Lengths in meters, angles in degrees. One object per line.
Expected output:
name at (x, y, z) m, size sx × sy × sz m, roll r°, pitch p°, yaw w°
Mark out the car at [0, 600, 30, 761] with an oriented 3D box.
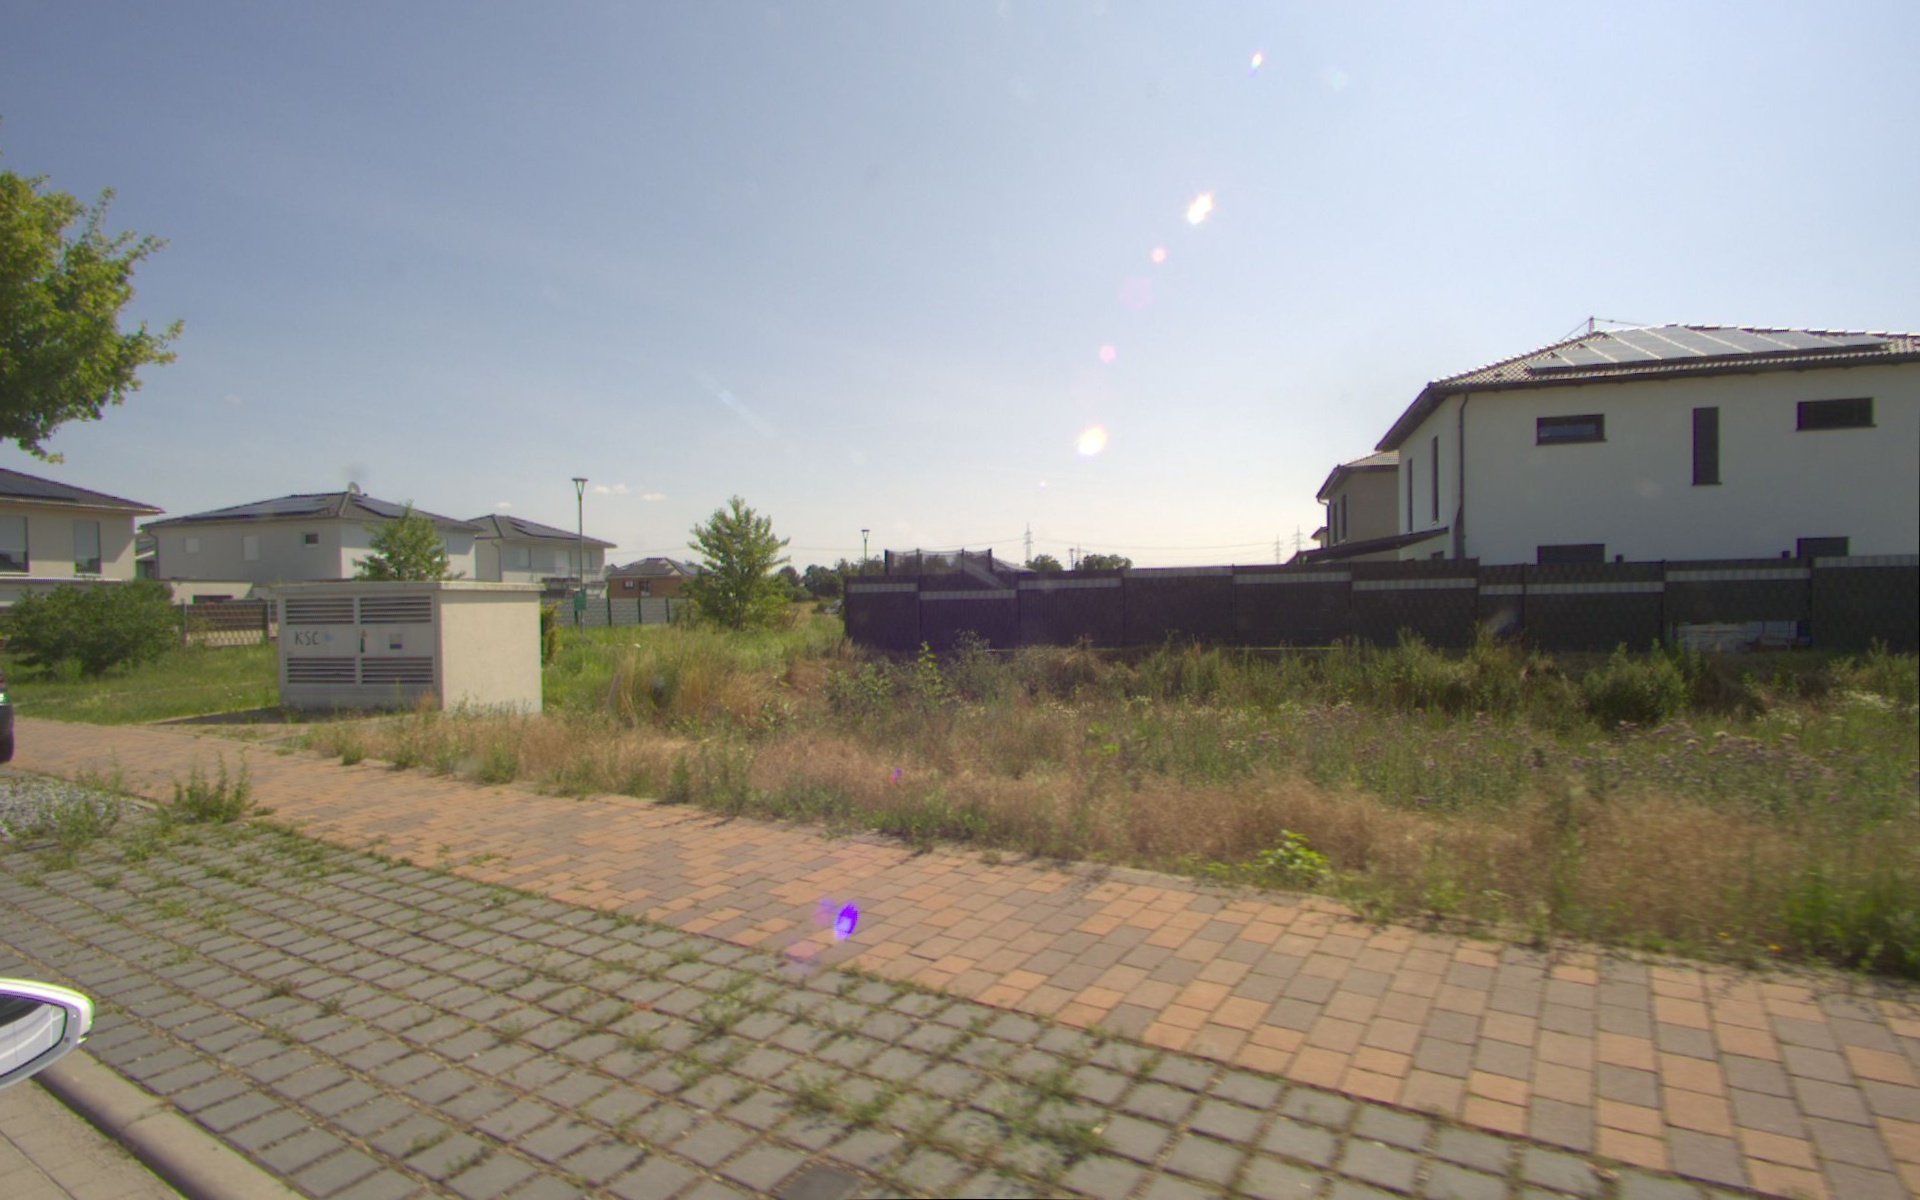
car at (-10.829, 0.823, 9.761) m, size 3.622 × 1.495 × 1.594 m, roll -1°, pitch 3°, yaw 32°
